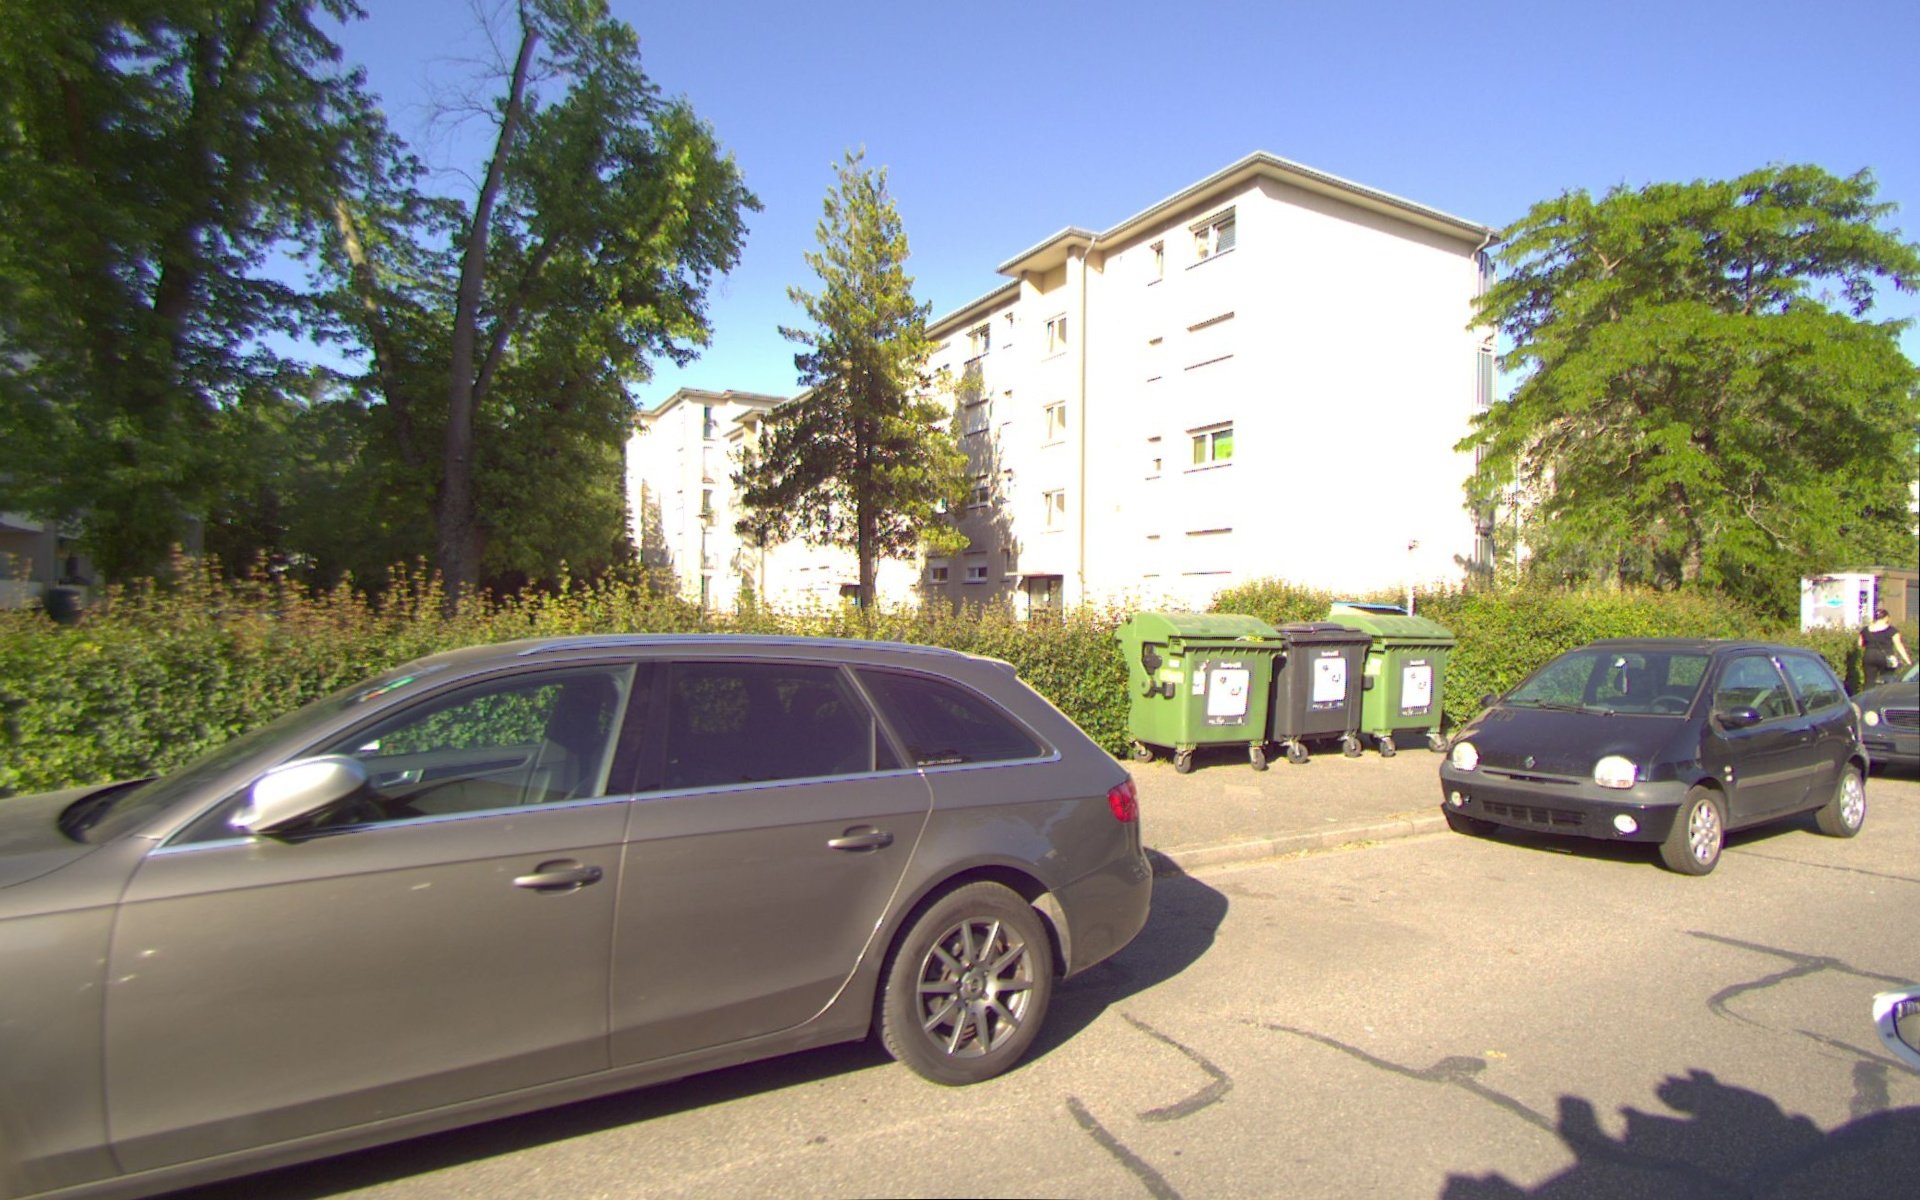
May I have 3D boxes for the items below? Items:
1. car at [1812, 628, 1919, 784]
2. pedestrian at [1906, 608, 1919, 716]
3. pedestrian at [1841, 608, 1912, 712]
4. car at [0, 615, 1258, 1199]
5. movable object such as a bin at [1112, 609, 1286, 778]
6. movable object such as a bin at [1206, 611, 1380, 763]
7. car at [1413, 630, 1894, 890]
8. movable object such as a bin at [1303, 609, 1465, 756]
[{"bbox_3d":[11.467,1.092,10.884,4.839,1.509,1.747,2,-3,-28],"label":"car"},{"bbox_3d":[15.594,0.992,15.919,0.609,1.701,0.717,1,0,-30],"label":"pedestrian"},{"bbox_3d":[15.391,0.987,16.867,0.593,1.701,0.717,1,0,-30],"label":"pedestrian"},{"bbox_3d":[-1.273,0.789,3.406,4.621,1.403,1.745,2,-2,-31],"label":"car"},{"bbox_3d":[2.262,0.841,9.519,1.311,1.434,0.889,1,2,-32],"label":"movable object such as a bin"},{"bbox_3d":[3.414,0.848,10.355,1.243,1.385,1.113,1,2,-32],"label":"movable object such as a bin"},{"bbox_3d":[5.132,0.965,7.370,3.456,1.483,1.640,1,-2,-31],"label":"car"},{"bbox_3d":[4.608,0.856,10.933,1.311,1.434,0.996,1,2,-32],"label":"movable object such as a bin"}]
